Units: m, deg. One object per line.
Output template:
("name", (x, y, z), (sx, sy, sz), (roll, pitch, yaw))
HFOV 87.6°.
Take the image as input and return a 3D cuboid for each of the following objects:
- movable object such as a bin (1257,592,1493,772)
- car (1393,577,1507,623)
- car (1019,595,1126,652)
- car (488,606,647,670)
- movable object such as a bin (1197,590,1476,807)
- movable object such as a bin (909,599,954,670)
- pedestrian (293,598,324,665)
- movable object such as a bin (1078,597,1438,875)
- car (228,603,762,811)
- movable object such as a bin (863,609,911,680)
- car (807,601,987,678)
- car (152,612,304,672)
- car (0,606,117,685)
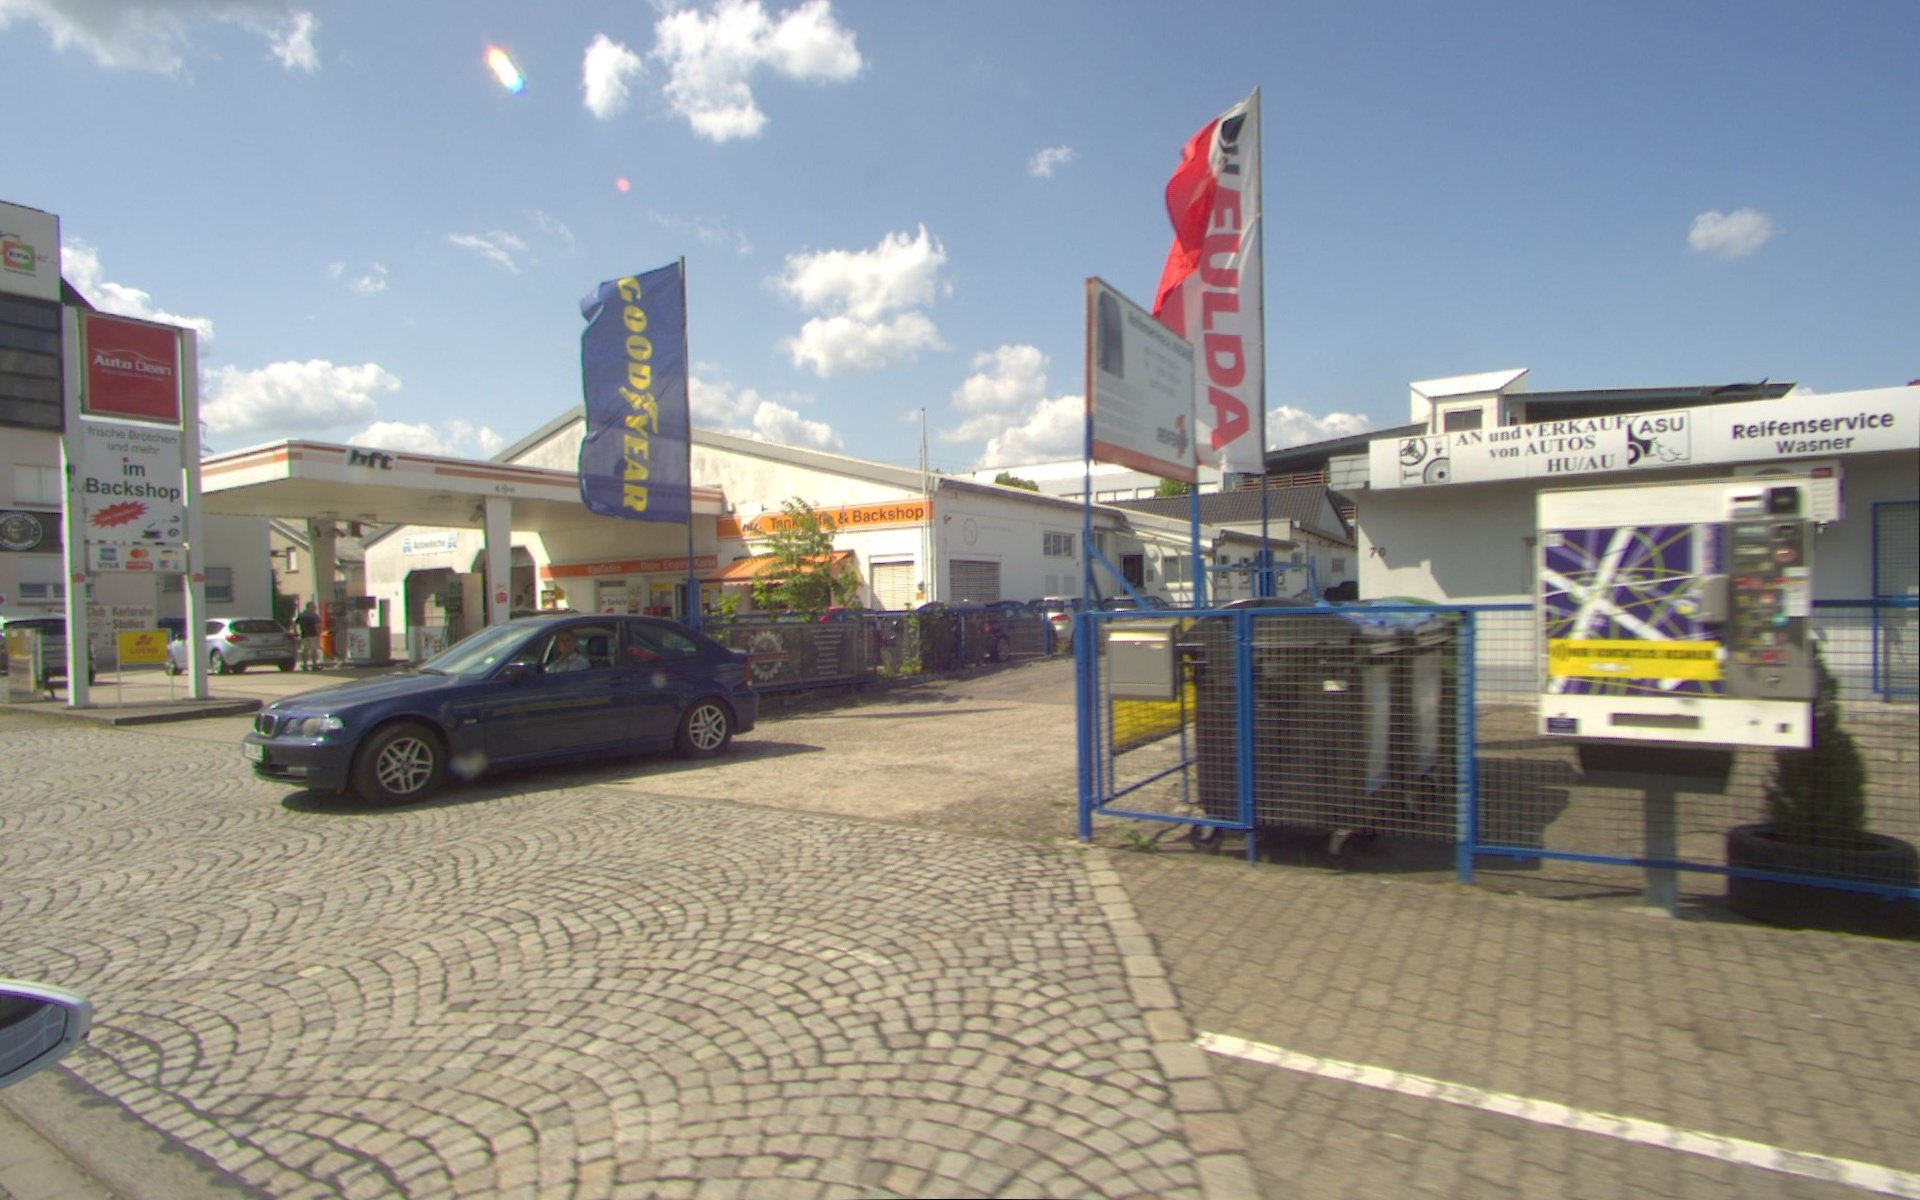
("movable object such as a bin", (3.776, 0.703, 9.065), (1.740, 1.428, 1.529), (-2, -2, 32))
("car", (23.776, 0.058, 48.662), (4.871, 2.039, 1.965), (-2, -2, 28))
("car", (3.211, 0.621, 28.056), (1.507, 1.443, 3.574), (-2, 0, 34))
("car", (-10.494, 0.950, 26.682), (4.428, 1.540, 1.678), (0, 1, 33))
("movable object such as a bin", (2.924, 0.697, 7.714), (1.740, 1.428, 1.529), (-2, -2, 32))
("movable object such as a bin", (-0.573, 0.685, 20.121), (0.696, 1.409, 0.579), (-1, 1, 31))
("pedestrian", (-17.645, 0.861, 27.108), (0.569, 1.799, 0.496), (-1, -2, 30))
("movable object such as a bin", (1.918, 0.725, 6.222), (1.684, 1.364, 1.960), (-2, -2, 32))
("car", (-3.888, 0.798, 8.946), (1.628, 1.426, 4.035), (-2, -2, 40))
("movable object such as a bin", (-1.387, 0.843, 18.959), (0.696, 1.313, 0.580), (-1, -2, 31))
("car", (-1.268, 0.804, 21.836), (1.747, 1.443, 4.123), (-2, 0, 34))
("car", (-19.828, 1.136, 27.073), (4.358, 1.490, 1.689), (-2, 0, 30))
("car", (-21.318, 1.008, 22.915), (4.553, 1.646, 1.941), (-1, -2, 34))
